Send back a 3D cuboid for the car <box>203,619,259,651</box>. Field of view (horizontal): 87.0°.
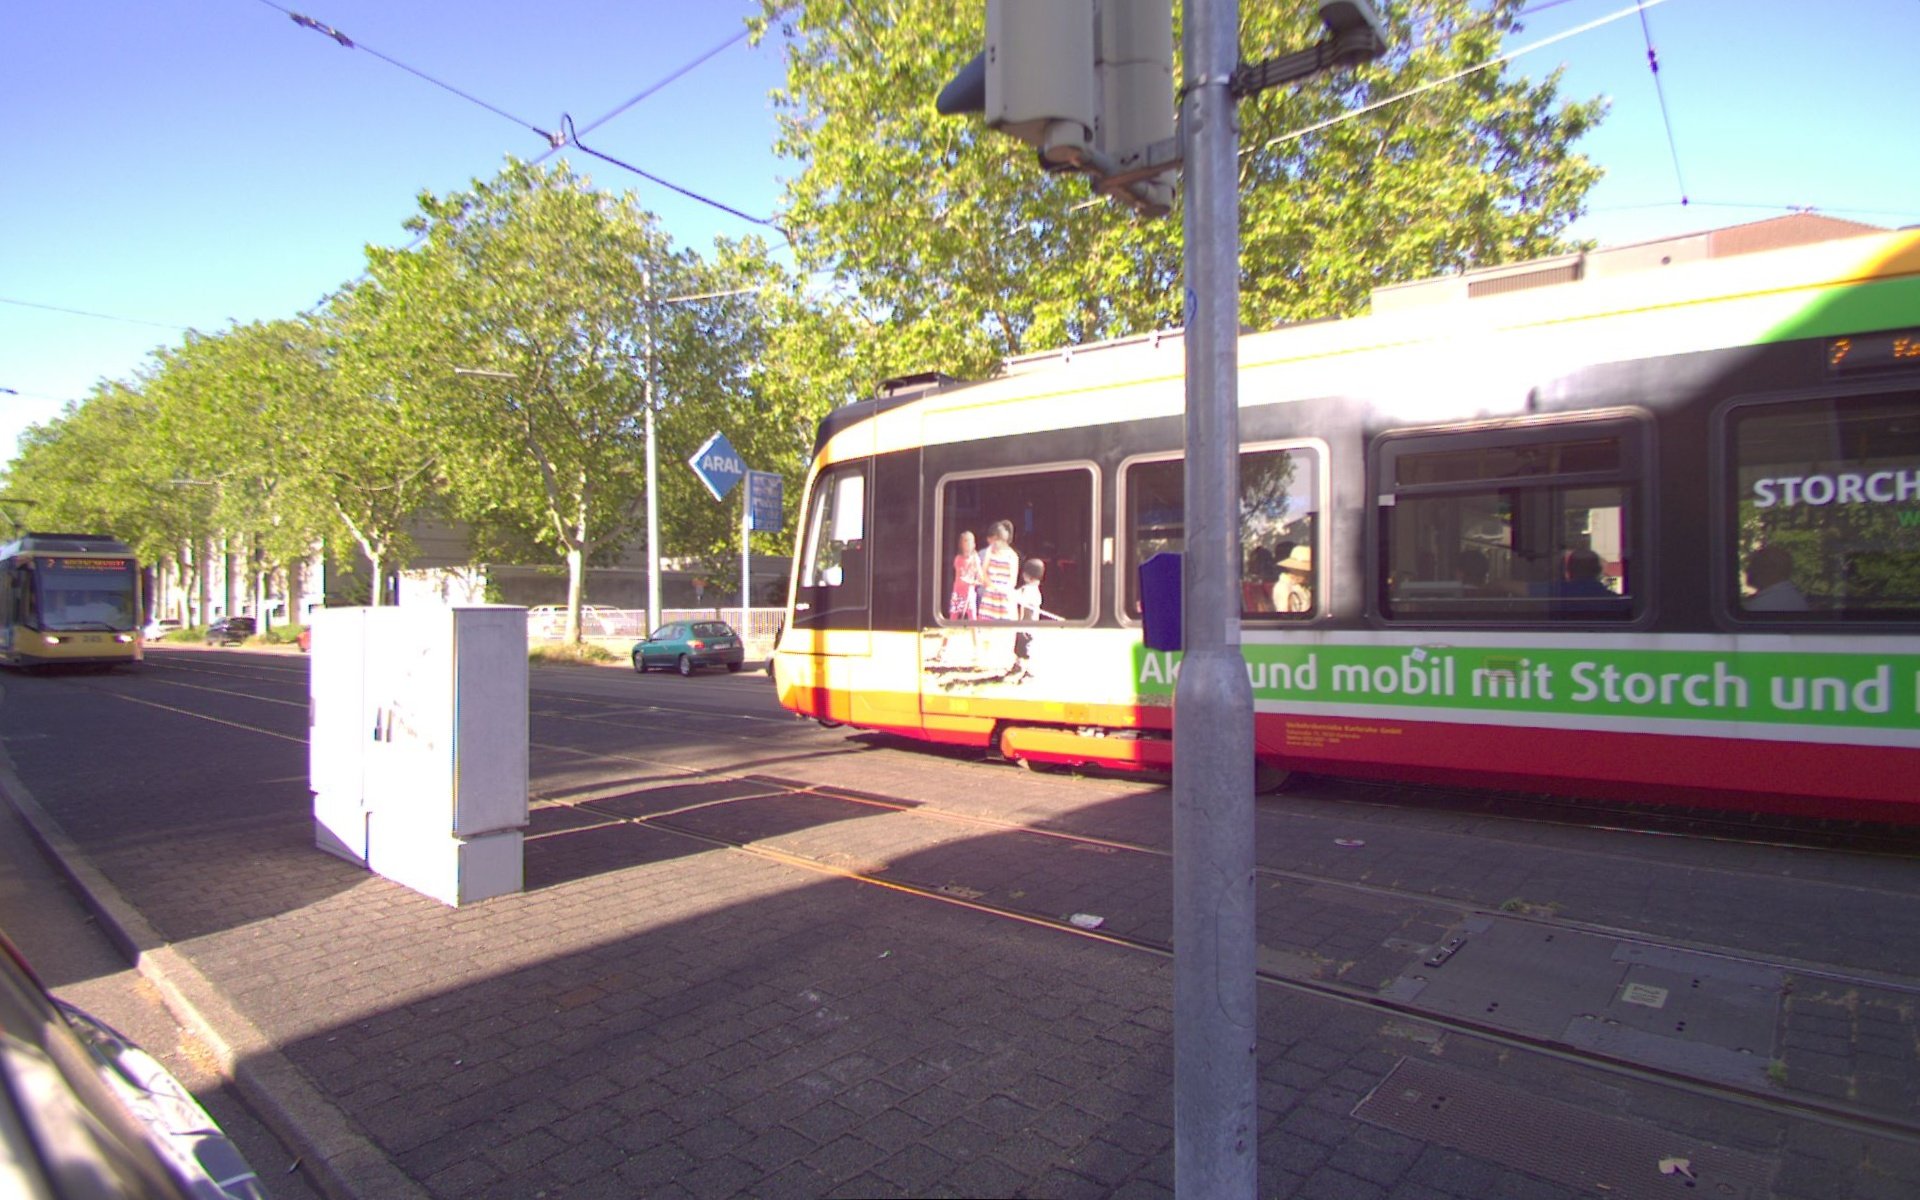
[{"bbox_3d":[-40.671,1.928,56.438,3.748,1.670,1.674,-1,1,41],"label":"car"}]

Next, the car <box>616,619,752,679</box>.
[{"bbox_3d":[-7.393,1.257,26.958,3.748,1.413,1.674,-1,1,41],"label":"car"}]

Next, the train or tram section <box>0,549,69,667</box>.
[{"bbox_3d":[-34.728,0.347,36.120,12.646,3.692,2.683,-1,-1,41],"label":"train or tram section"}]

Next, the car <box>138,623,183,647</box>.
[{"bbox_3d":[-53.857,2.330,68.163,3.748,1.459,1.674,-1,1,41],"label":"car"}]

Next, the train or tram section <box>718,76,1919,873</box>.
[{"bbox_3d":[3.813,-0.565,7.215,13.022,3.843,2.907,-1,-1,35],"label":"train or tram section"}]

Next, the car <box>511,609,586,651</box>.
[{"bbox_3d":[-17.078,1.220,41.957,3.303,1.628,1.579,-1,0,41],"label":"car"}]

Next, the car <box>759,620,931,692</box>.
[{"bbox_3d":[-2.629,1.197,22.630,3.812,1.413,1.674,-1,1,41],"label":"car"}]

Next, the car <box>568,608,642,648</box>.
[{"bbox_3d":[-15.259,1.184,43.434,3.303,1.604,1.579,-1,0,41],"label":"car"}]

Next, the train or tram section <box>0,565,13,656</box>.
[{"bbox_3d":[-44.296,0.524,44.387,12.646,3.692,2.683,-1,-1,41],"label":"train or tram section"}]

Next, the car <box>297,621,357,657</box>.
[{"bbox_3d":[-28.680,1.745,45.816,2.621,1.519,1.579,-1,1,41],"label":"car"}]

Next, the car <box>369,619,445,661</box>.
[{"bbox_3d":[-21.870,1.548,39.989,3.303,1.519,1.579,-1,1,41],"label":"car"}]

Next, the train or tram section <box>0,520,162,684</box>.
[{"bbox_3d":[-25.183,0.154,27.875,12.646,3.692,2.683,-1,-1,41],"label":"train or tram section"}]
